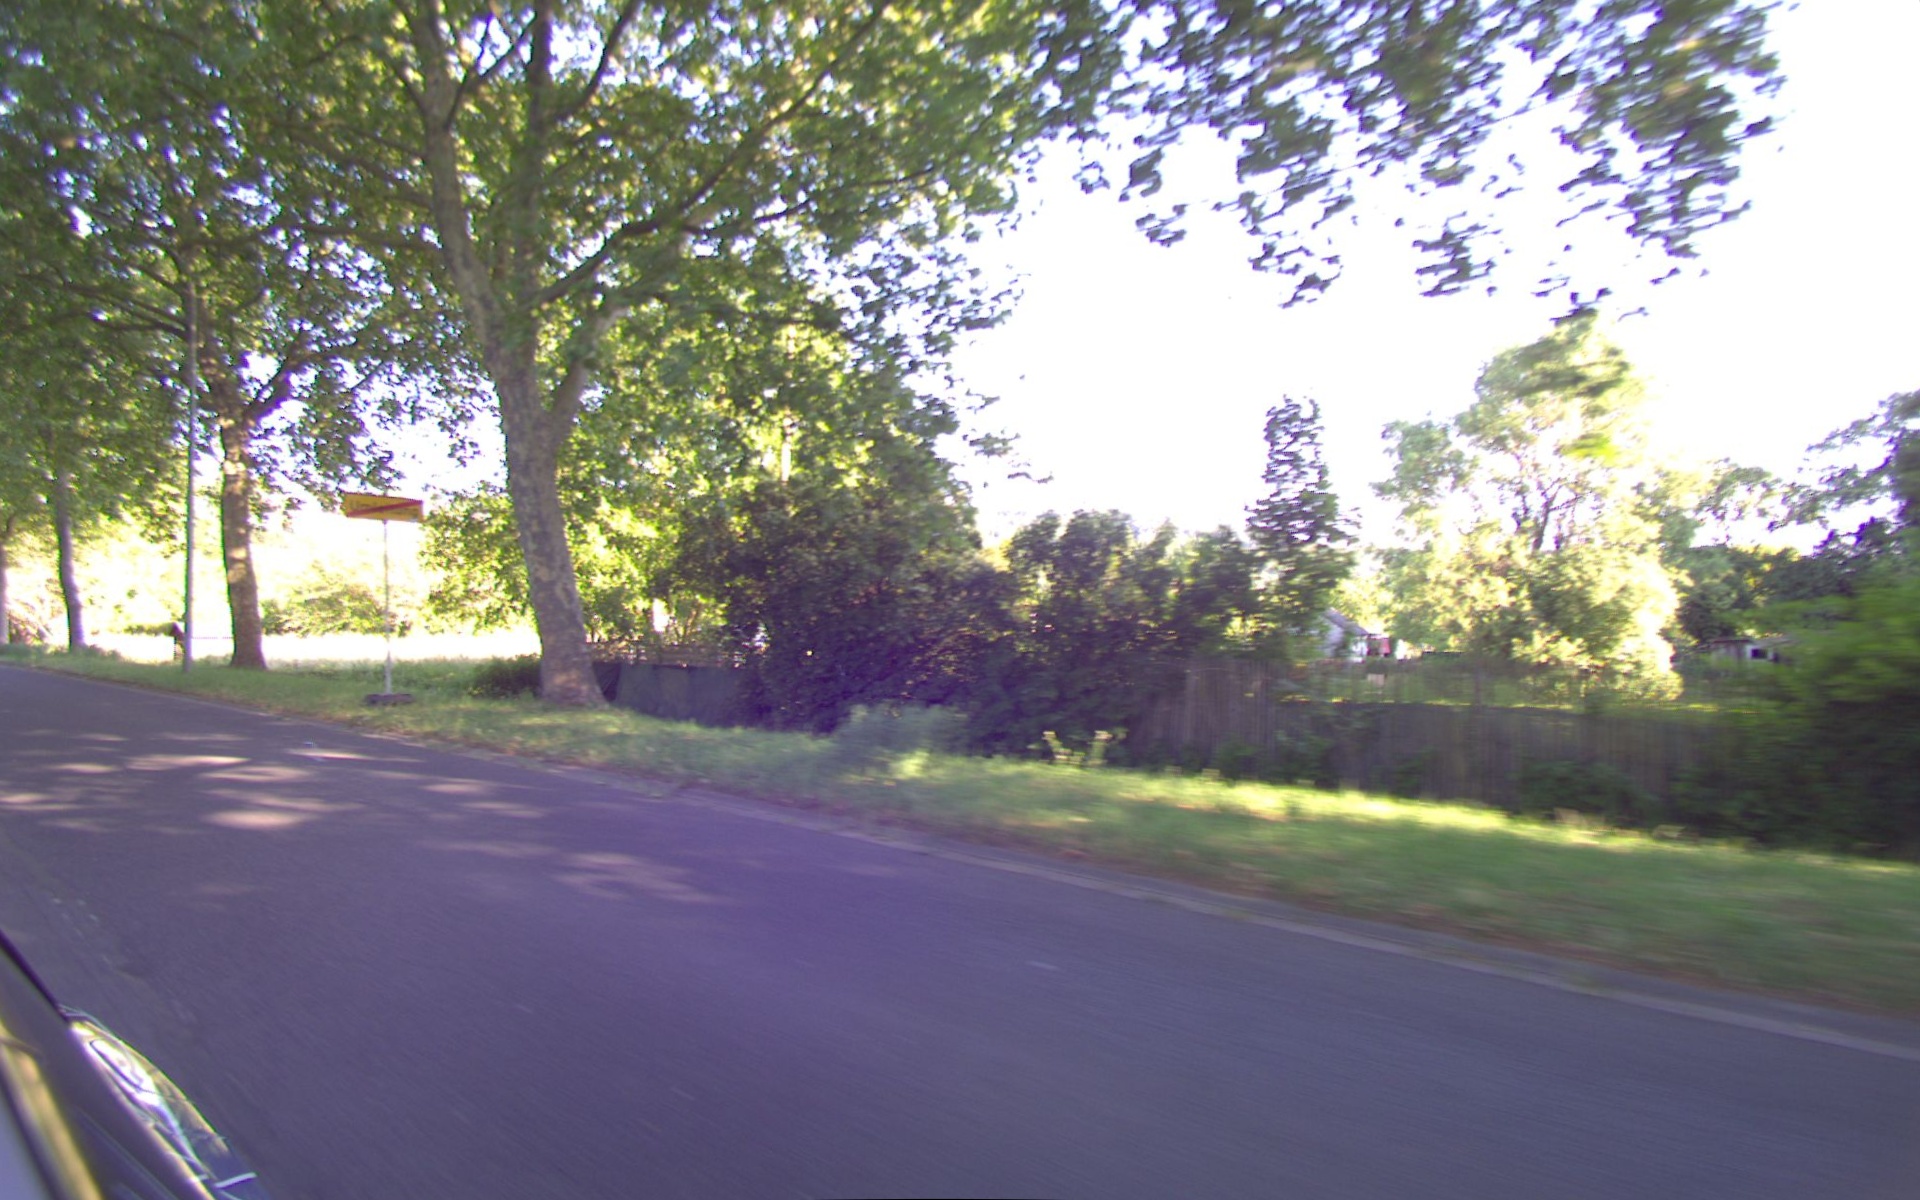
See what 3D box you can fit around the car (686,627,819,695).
[{"bbox_3d":[-6.983,1.997,34.246,3.939,2.029,2.003,0,0,-42],"label":"car"}]
